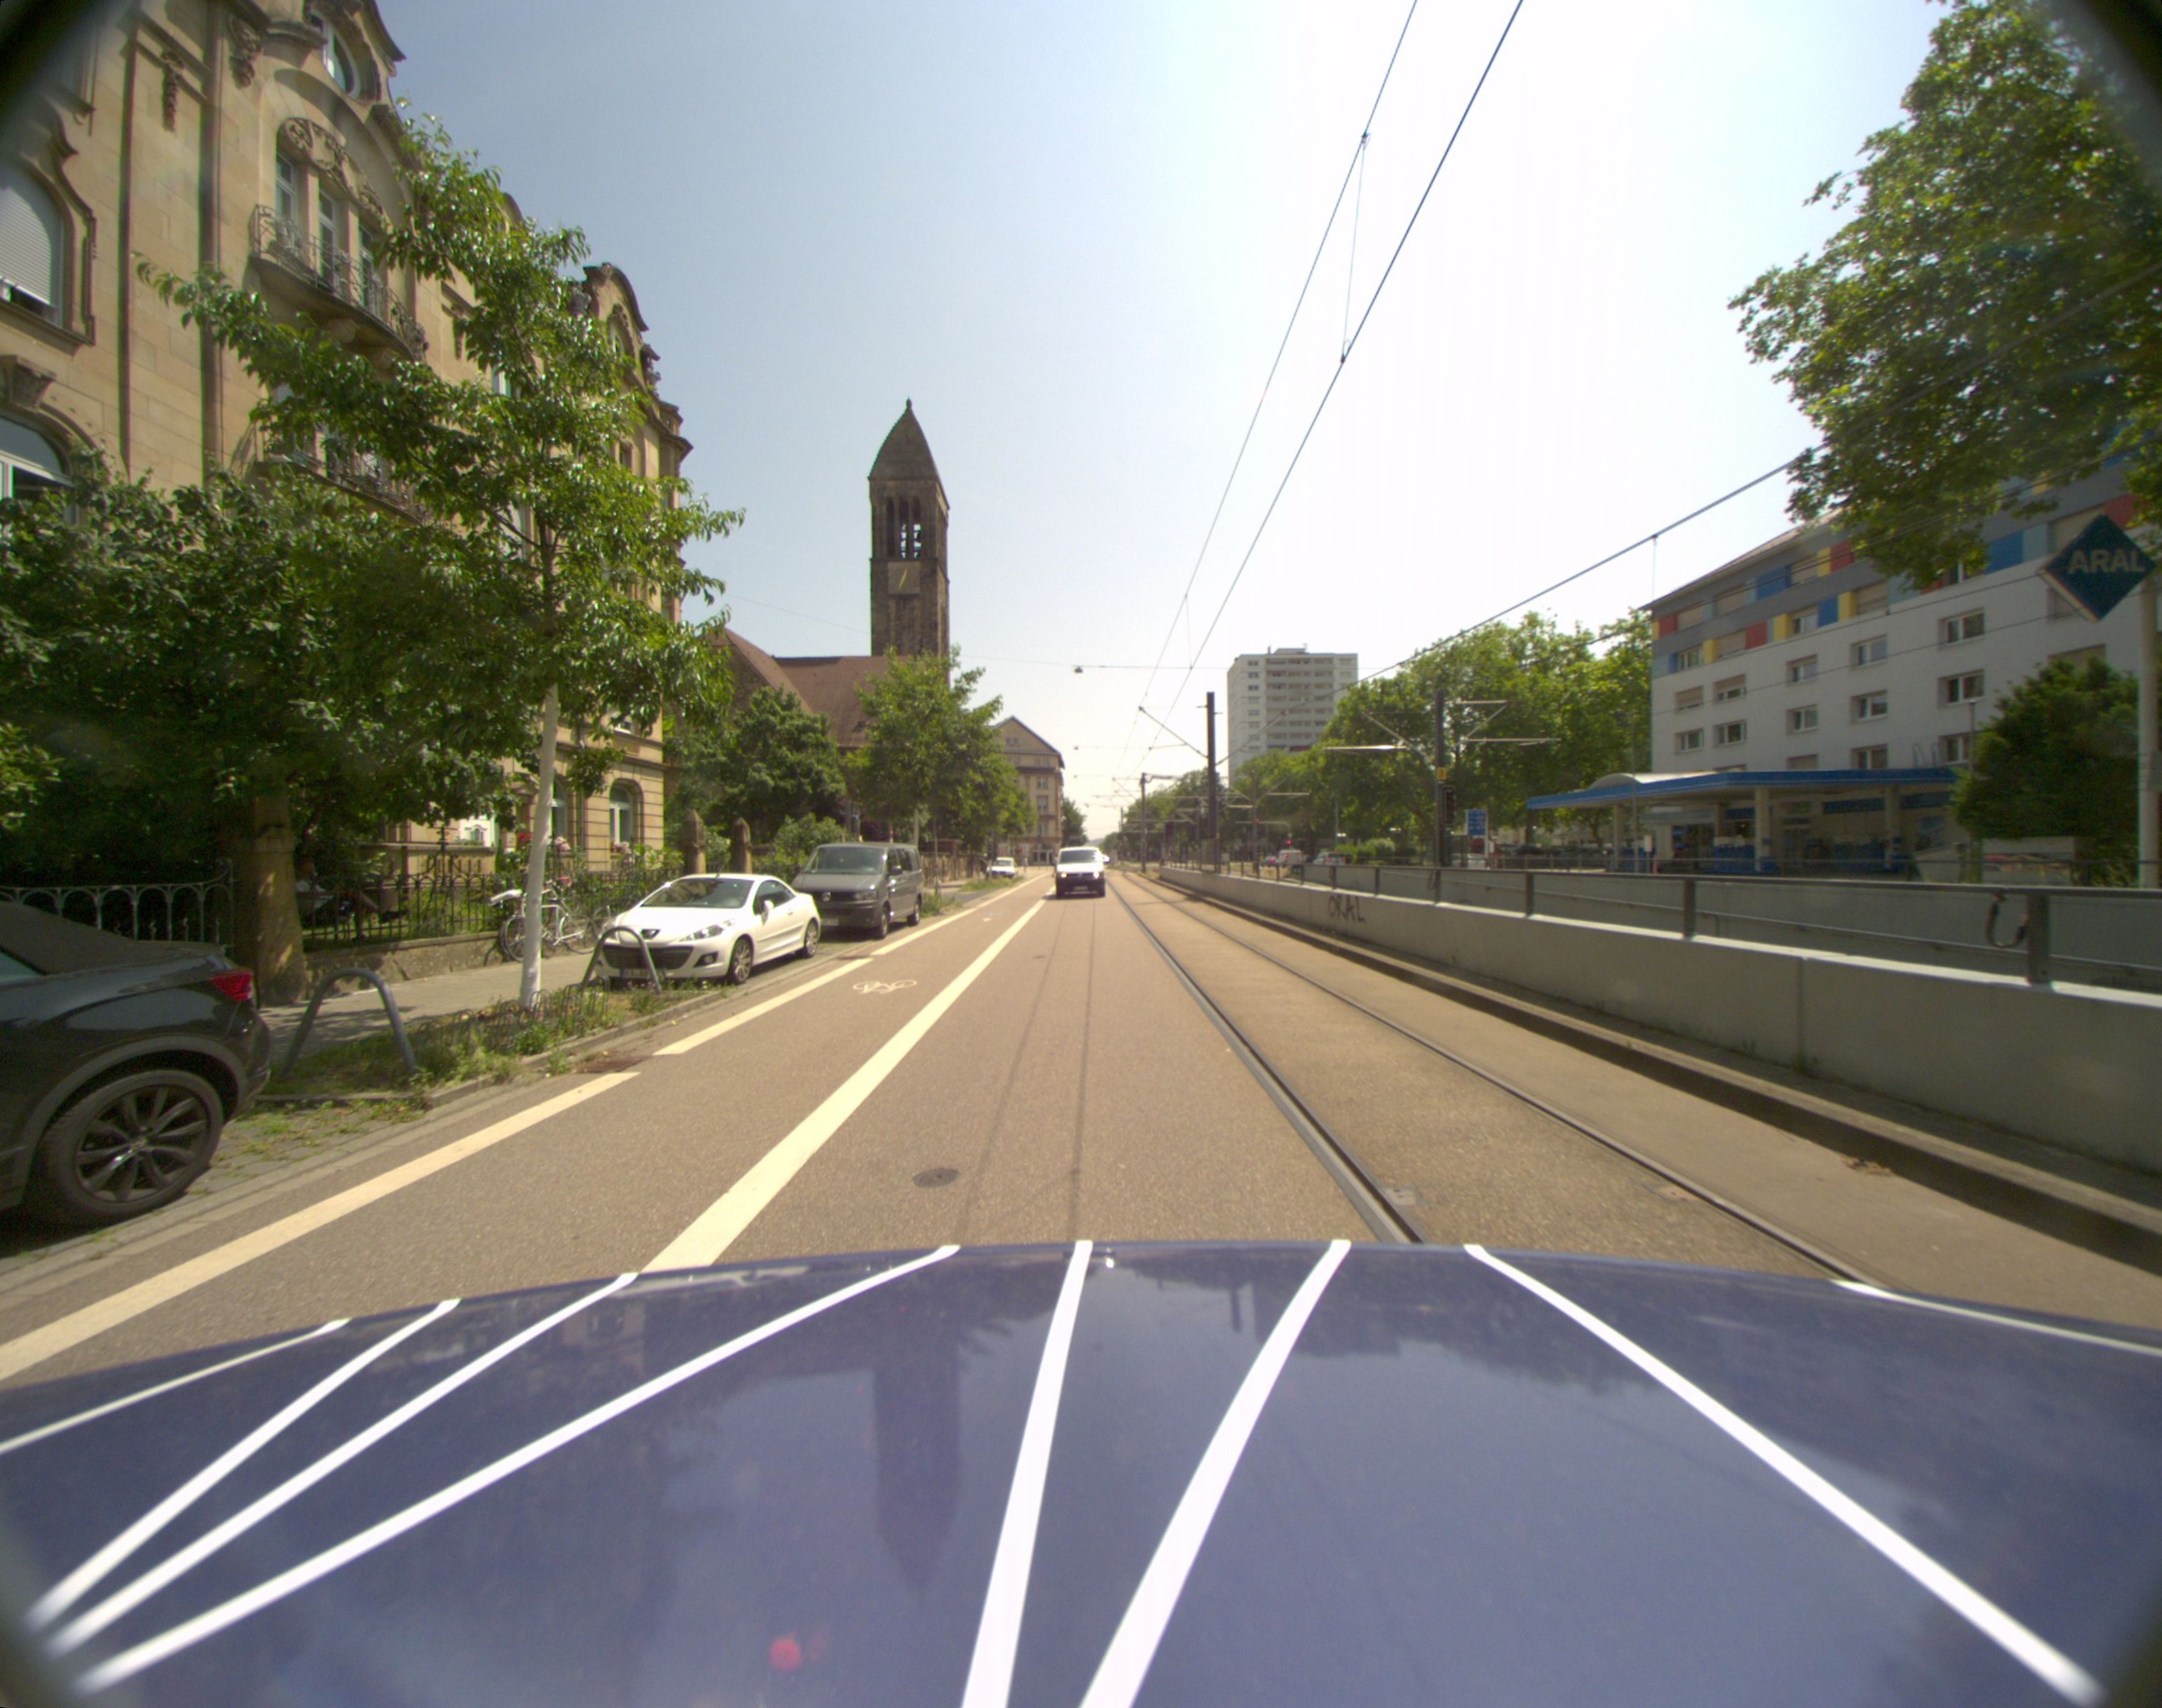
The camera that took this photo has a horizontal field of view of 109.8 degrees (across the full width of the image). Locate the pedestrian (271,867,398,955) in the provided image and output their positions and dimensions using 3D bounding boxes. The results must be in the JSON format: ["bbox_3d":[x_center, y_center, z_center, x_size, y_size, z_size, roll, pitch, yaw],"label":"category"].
[{"bbox_3d":[-9.615,0.719,9.812,0.867,1.063,0.761,-1,0,4],"label":"pedestrian"}]

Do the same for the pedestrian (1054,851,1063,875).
[{"bbox_3d":[-1.676,0.671,56.881,0.622,1.744,0.678,-1,1,2],"label":"pedestrian"}]

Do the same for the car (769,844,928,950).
[{"bbox_3d":[-4.775,0.798,16.409,1.883,1.936,4.836,0,0,1],"label":"car"}]

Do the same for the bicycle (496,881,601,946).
[{"bbox_3d":[-8.206,0.882,11.787,0.441,0.875,1.635,-1,0,0],"label":"bicycle"}]

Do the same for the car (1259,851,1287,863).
[{"bbox_3d":[22.121,0.358,87.659,1.952,1.351,4.628,-1,0,-1],"label":"car"}]

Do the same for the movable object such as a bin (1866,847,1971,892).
[{"bbox_3d":[26.838,0.474,24.391,1.787,1.377,1.469,-1,0,-1],"label":"movable object such as a bin"}]

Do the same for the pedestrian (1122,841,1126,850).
[{"bbox_3d":[7.919,-1.551,138.497,0.679,1.695,0.554,-1,1,3],"label":"pedestrian"}]

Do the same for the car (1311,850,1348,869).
[{"bbox_3d":[22.026,0.502,67.456,1.851,1.616,4.602,0,0,1],"label":"car"}]

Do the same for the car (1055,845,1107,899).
[{"bbox_3d":[0.075,0.665,30.347,1.852,1.942,4.943,-1,0,2],"label":"car"}]

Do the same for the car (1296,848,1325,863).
[{"bbox_3d":[22.299,0.129,73.980,1.600,1.412,3.782,1,0,0],"label":"car"}]

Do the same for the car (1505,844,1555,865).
[{"bbox_3d":[38.955,0.035,66.057,1.998,1.710,4.000,-1,0,0],"label":"car"}]

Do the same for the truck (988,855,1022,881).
[{"bbox_3d":[-4.734,0.869,47.807,1.794,1.517,4.464,-1,0,-2],"label":"truck"}]

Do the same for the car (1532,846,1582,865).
[{"bbox_3d":[41.698,0.140,66.657,1.867,1.517,4.000,-1,0,0],"label":"car"}]

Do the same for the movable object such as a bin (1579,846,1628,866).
[{"bbox_3d":[44.636,0.176,64.954,2.724,1.601,1.986,-1,0,0],"label":"movable object such as a bin"}]

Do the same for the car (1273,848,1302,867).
[{"bbox_3d":[22.150,0.370,81.731,1.781,1.979,4.804,-1,0,-1],"label":"car"}]

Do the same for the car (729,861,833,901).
[{"bbox_3d":[-11.805,1.062,30.041,3.460,1.482,1.555,-1,0,2],"label":"car"}]

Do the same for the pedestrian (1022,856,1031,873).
[{"bbox_3d":[-5.343,0.990,74.816,0.795,1.641,0.967,-1,0,2],"label":"pedestrian"}]

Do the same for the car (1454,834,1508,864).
[{"bbox_3d":[34.357,-0.482,65.376,1.851,2.379,4.980,-4,1,0],"label":"car"}]

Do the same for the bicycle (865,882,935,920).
[{"bbox_3d":[-5.153,1.328,21.692,1.887,0.986,0.470,-1,0,-9],"label":"bicycle"}]

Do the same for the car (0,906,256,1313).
[{"bbox_3d":[-5.046,1.035,1.857,1.671,1.521,4.012,-1,0,0],"label":"car"}]

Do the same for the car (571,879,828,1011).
[{"bbox_3d":[-5.140,1.133,10.909,1.615,1.397,4.000,-1,0,1],"label":"car"}]

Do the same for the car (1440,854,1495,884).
[{"bbox_3d":[21.456,0.775,42.312,1.547,1.552,3.881,-1,0,8],"label":"car"}]

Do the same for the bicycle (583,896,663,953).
[{"bbox_3d":[-8.231,1.246,13.729,0.441,0.875,1.635,-1,0,0],"label":"bicycle"}]
